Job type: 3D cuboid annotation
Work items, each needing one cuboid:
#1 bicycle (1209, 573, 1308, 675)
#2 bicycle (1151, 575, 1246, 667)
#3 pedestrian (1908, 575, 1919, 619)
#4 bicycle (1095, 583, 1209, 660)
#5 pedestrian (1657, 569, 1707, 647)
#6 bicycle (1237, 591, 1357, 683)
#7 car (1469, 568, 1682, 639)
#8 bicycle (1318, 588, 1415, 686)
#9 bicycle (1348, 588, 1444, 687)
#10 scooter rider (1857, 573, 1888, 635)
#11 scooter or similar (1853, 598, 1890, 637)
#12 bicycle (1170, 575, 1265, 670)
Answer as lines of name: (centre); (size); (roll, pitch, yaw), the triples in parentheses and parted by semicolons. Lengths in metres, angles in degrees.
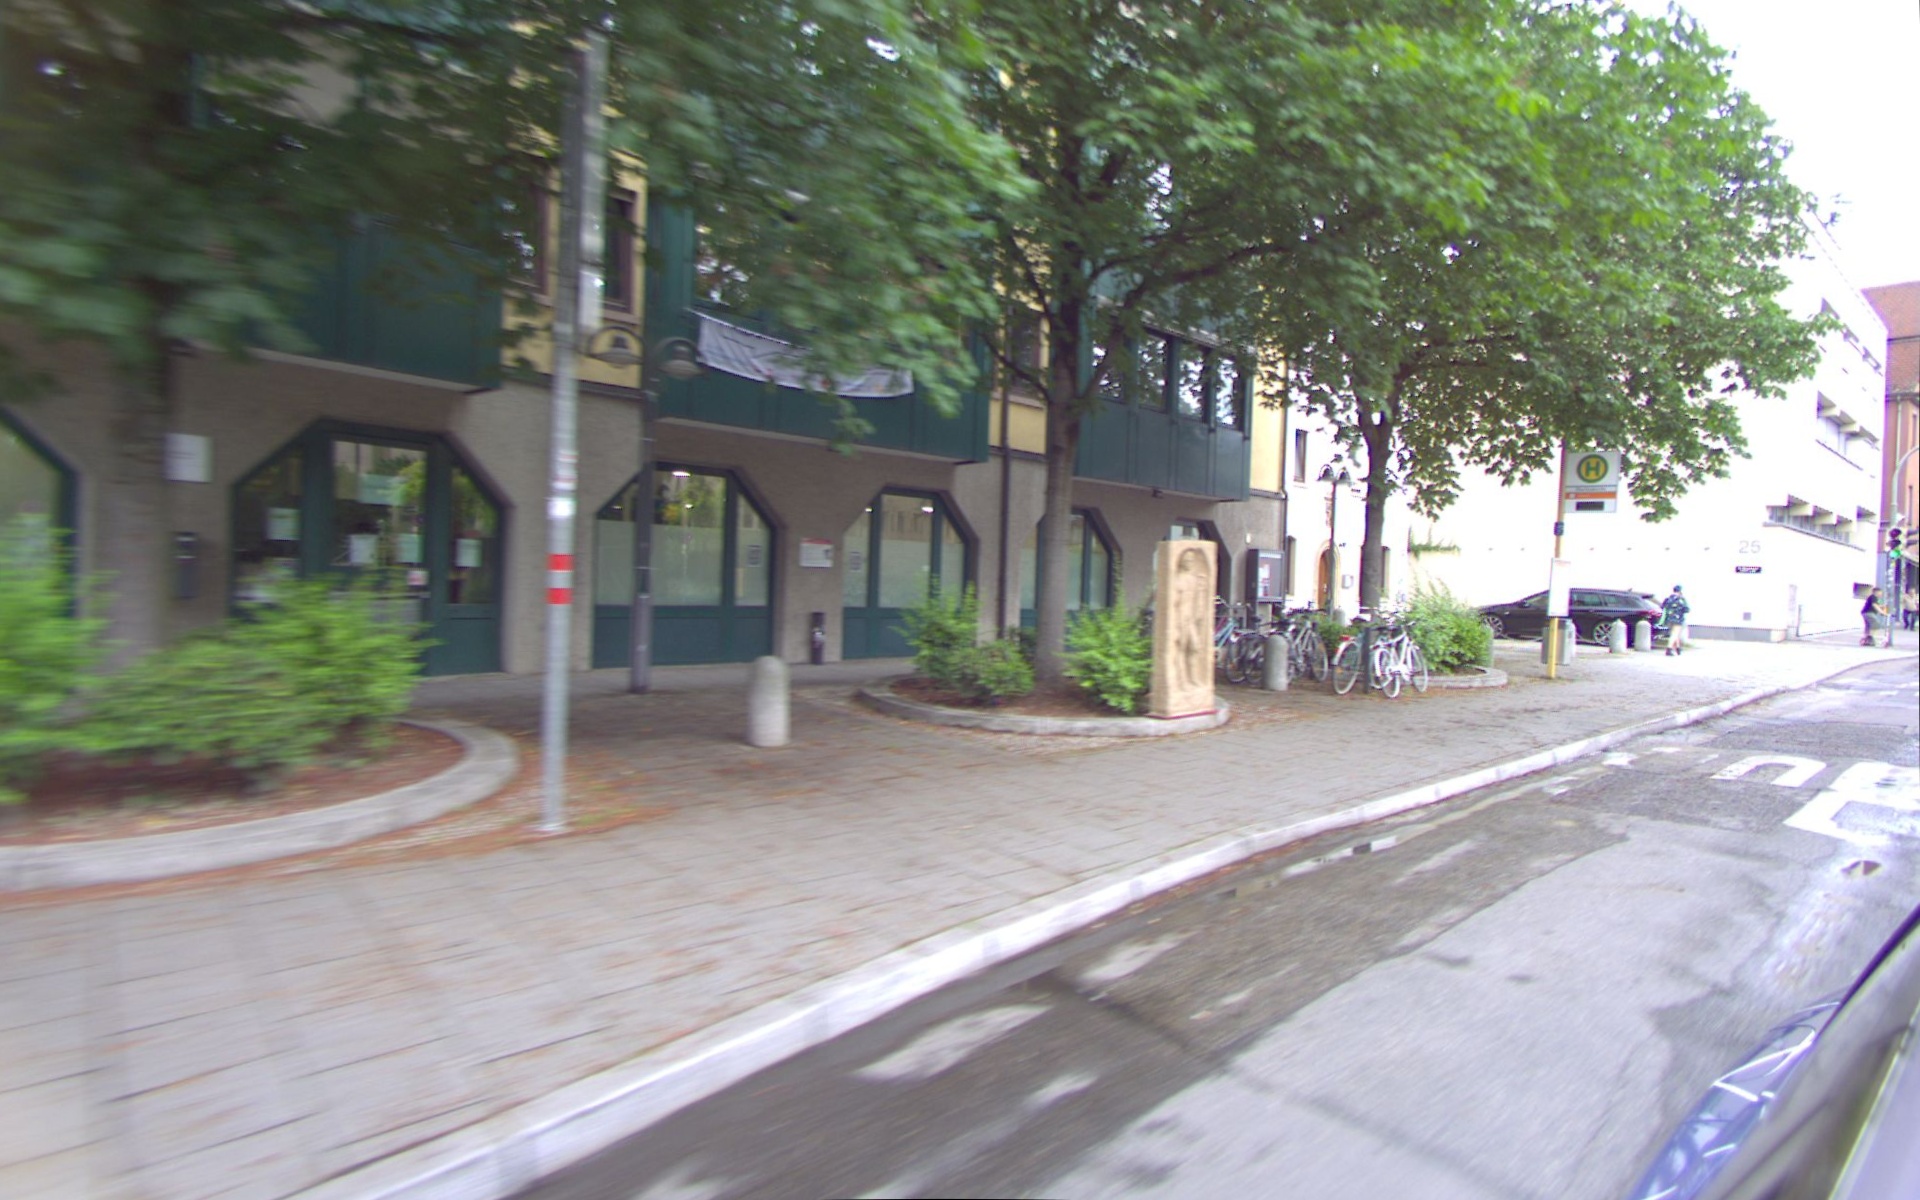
bicycle: (4.133, 0.295, 13.913); (1.925, 1.316, 0.333); (-2, 2, -41)
bicycle: (3.623, 0.284, 15.286); (1.925, 1.316, 0.333); (-2, 2, -41)
pedestrian: (36.806, -0.103, 38.646); (0.873, 1.669, 0.702); (0, 3, -40)
bicycle: (3.024, 0.298, 15.780); (0.545, 1.082, 2.254); (4, 4, 45)
pedestrian: (16.501, 0.174, 23.127); (0.843, 1.736, 0.604); (0, 2, -33)
bicycle: (4.537, 0.450, 13.534); (0.545, 1.082, 2.254); (4, 4, 45)
car: (16.386, 0.022, 27.136); (1.821, 1.593, 4.519); (-2, 4, -42)
bicycle: (5.302, 0.443, 13.140); (1.925, 1.155, 0.333); (-2, 2, -41)
bicycle: (5.597, 0.444, 12.947); (1.925, 1.155, 0.333); (-2, 2, -41)
scooter rider: (25.087, 0.110, 27.837); (0.451, 1.650, 0.499); (5, 6, 36)
scooter or similar: (25.109, 0.478, 27.891); (0.661, 0.956, 0.809); (6, 7, 39)
bicycle: (3.845, 0.294, 15.004); (1.925, 1.316, 0.333); (-2, 2, -41)
